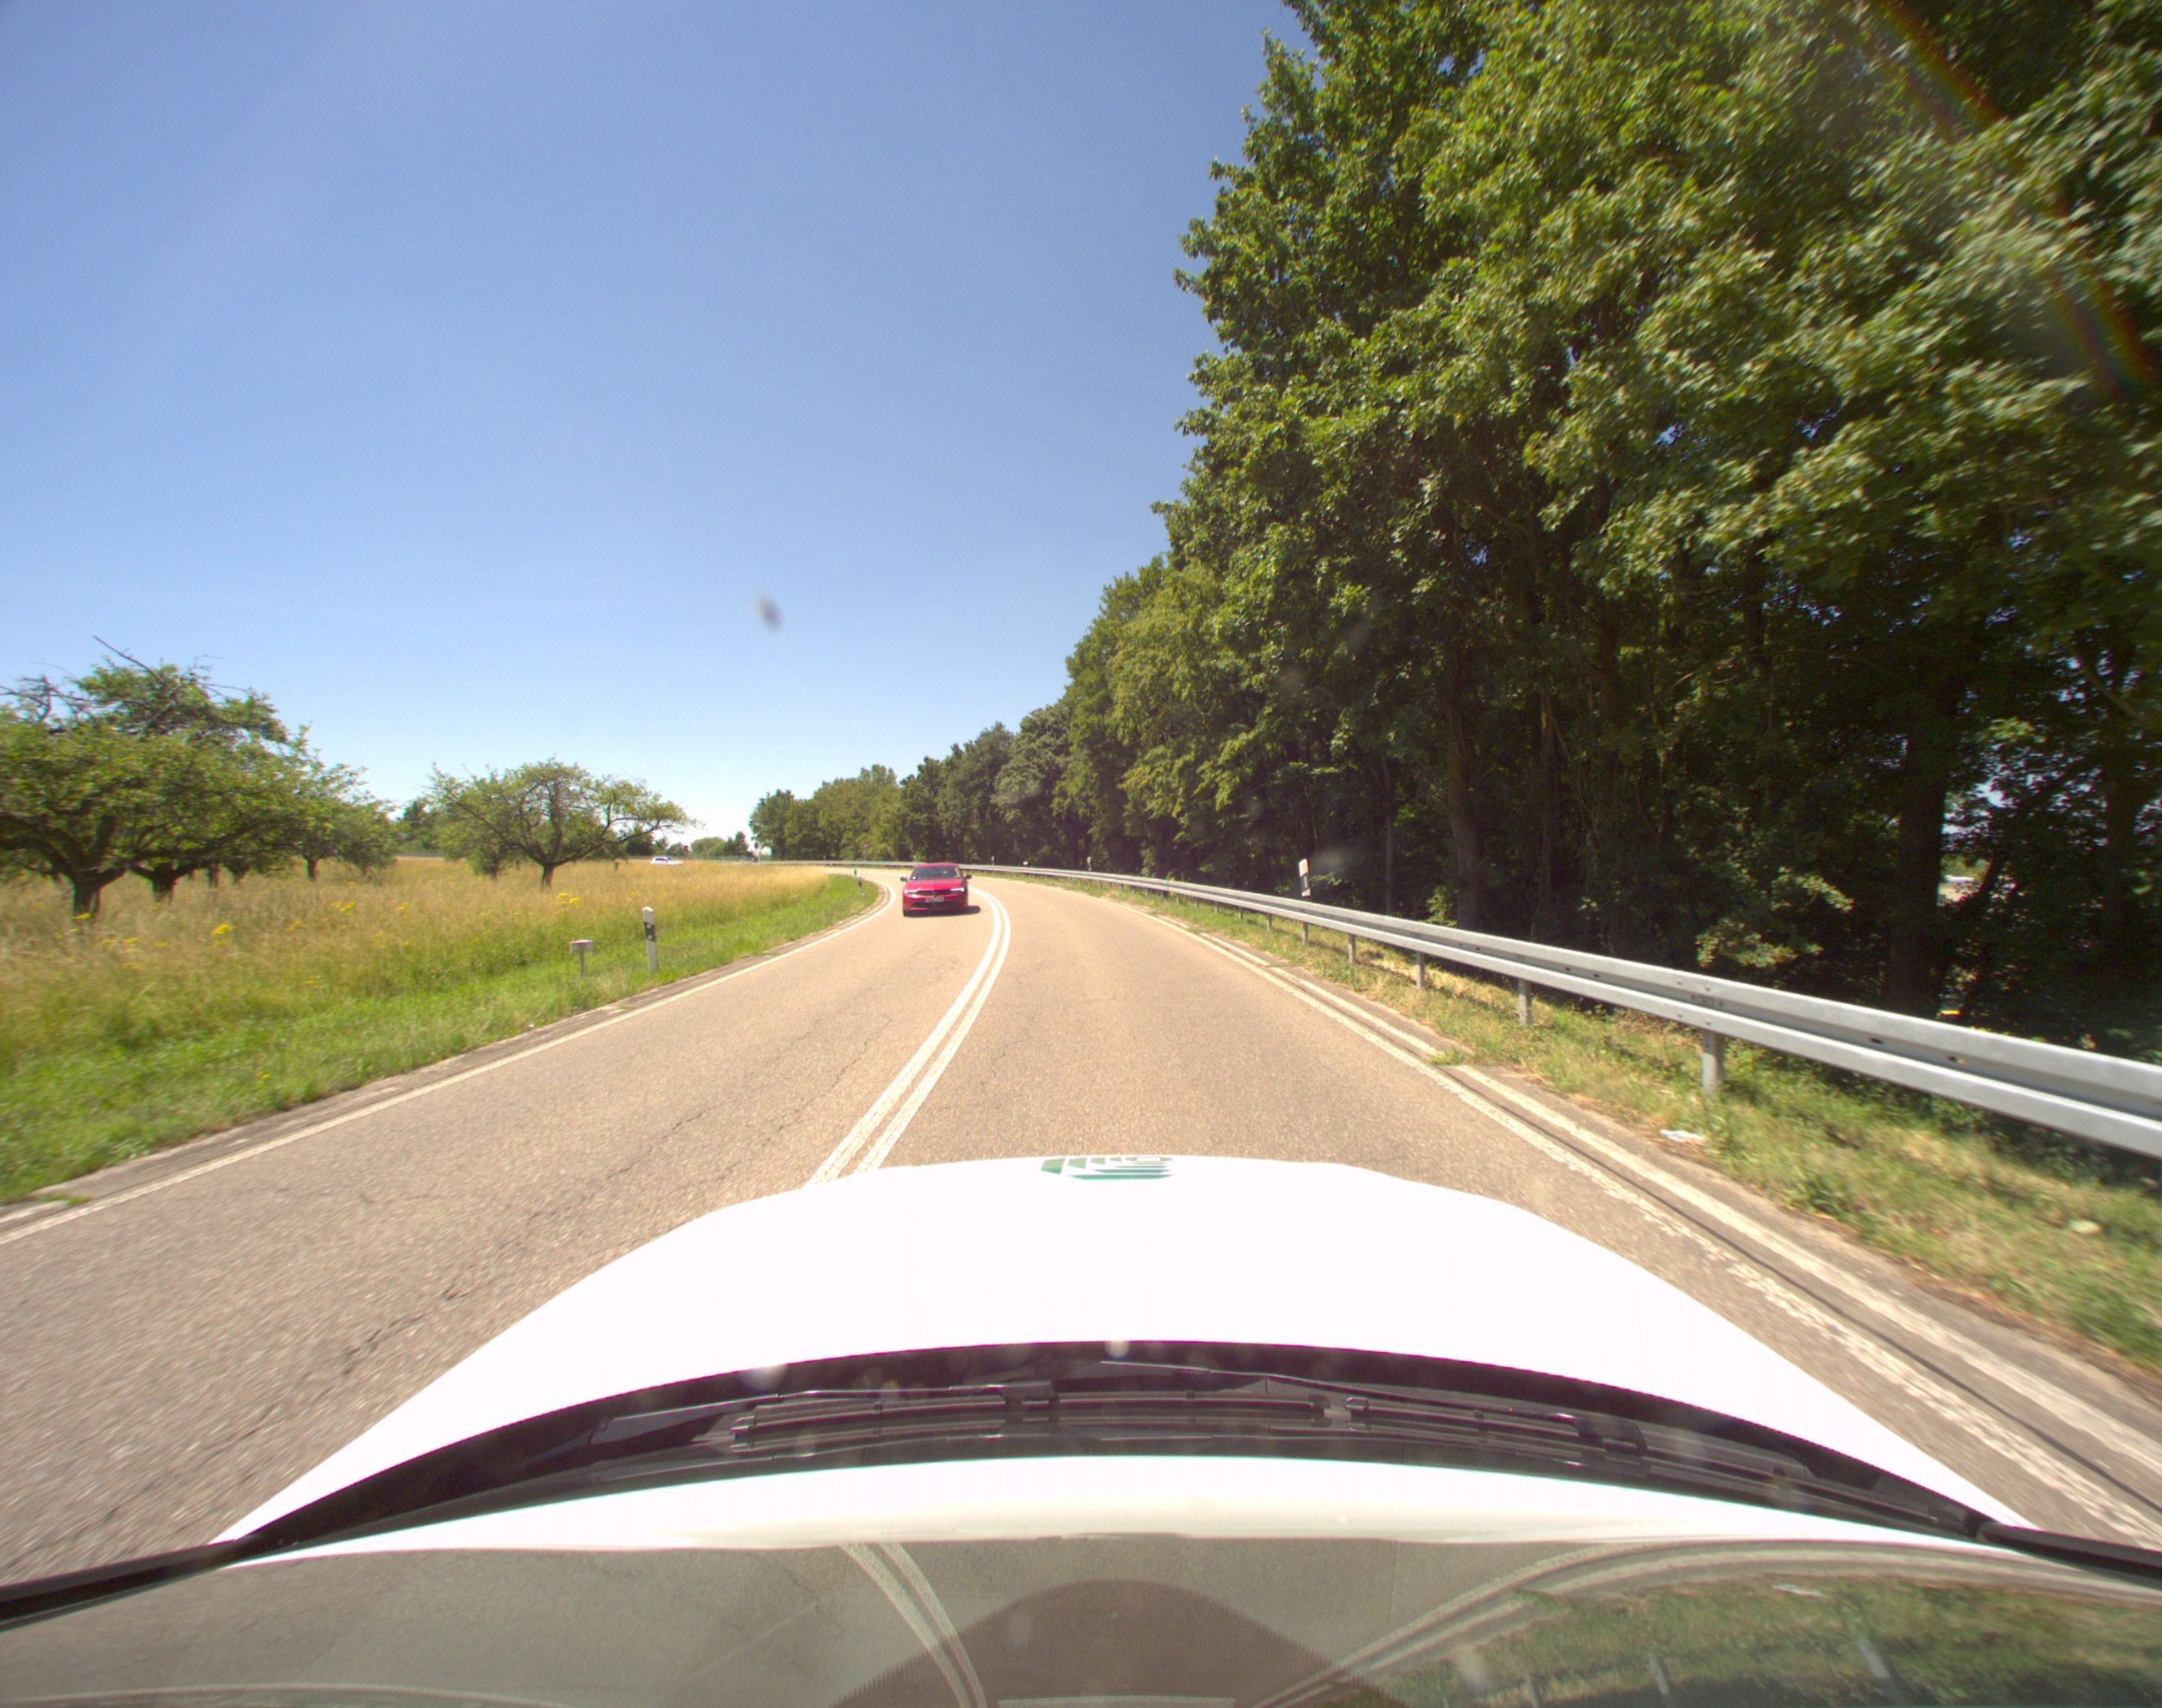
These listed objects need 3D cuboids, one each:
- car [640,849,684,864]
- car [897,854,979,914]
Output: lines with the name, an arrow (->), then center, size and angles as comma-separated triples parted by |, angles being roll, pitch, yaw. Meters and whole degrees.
car -> -48.894, 0.255, 95.097 | 4.152, 1.506, 1.826 | -1, 5, -6
car -> -4.061, 0.853, 23.819 | 1.819, 1.458, 4.393 | -4, -1, -4
